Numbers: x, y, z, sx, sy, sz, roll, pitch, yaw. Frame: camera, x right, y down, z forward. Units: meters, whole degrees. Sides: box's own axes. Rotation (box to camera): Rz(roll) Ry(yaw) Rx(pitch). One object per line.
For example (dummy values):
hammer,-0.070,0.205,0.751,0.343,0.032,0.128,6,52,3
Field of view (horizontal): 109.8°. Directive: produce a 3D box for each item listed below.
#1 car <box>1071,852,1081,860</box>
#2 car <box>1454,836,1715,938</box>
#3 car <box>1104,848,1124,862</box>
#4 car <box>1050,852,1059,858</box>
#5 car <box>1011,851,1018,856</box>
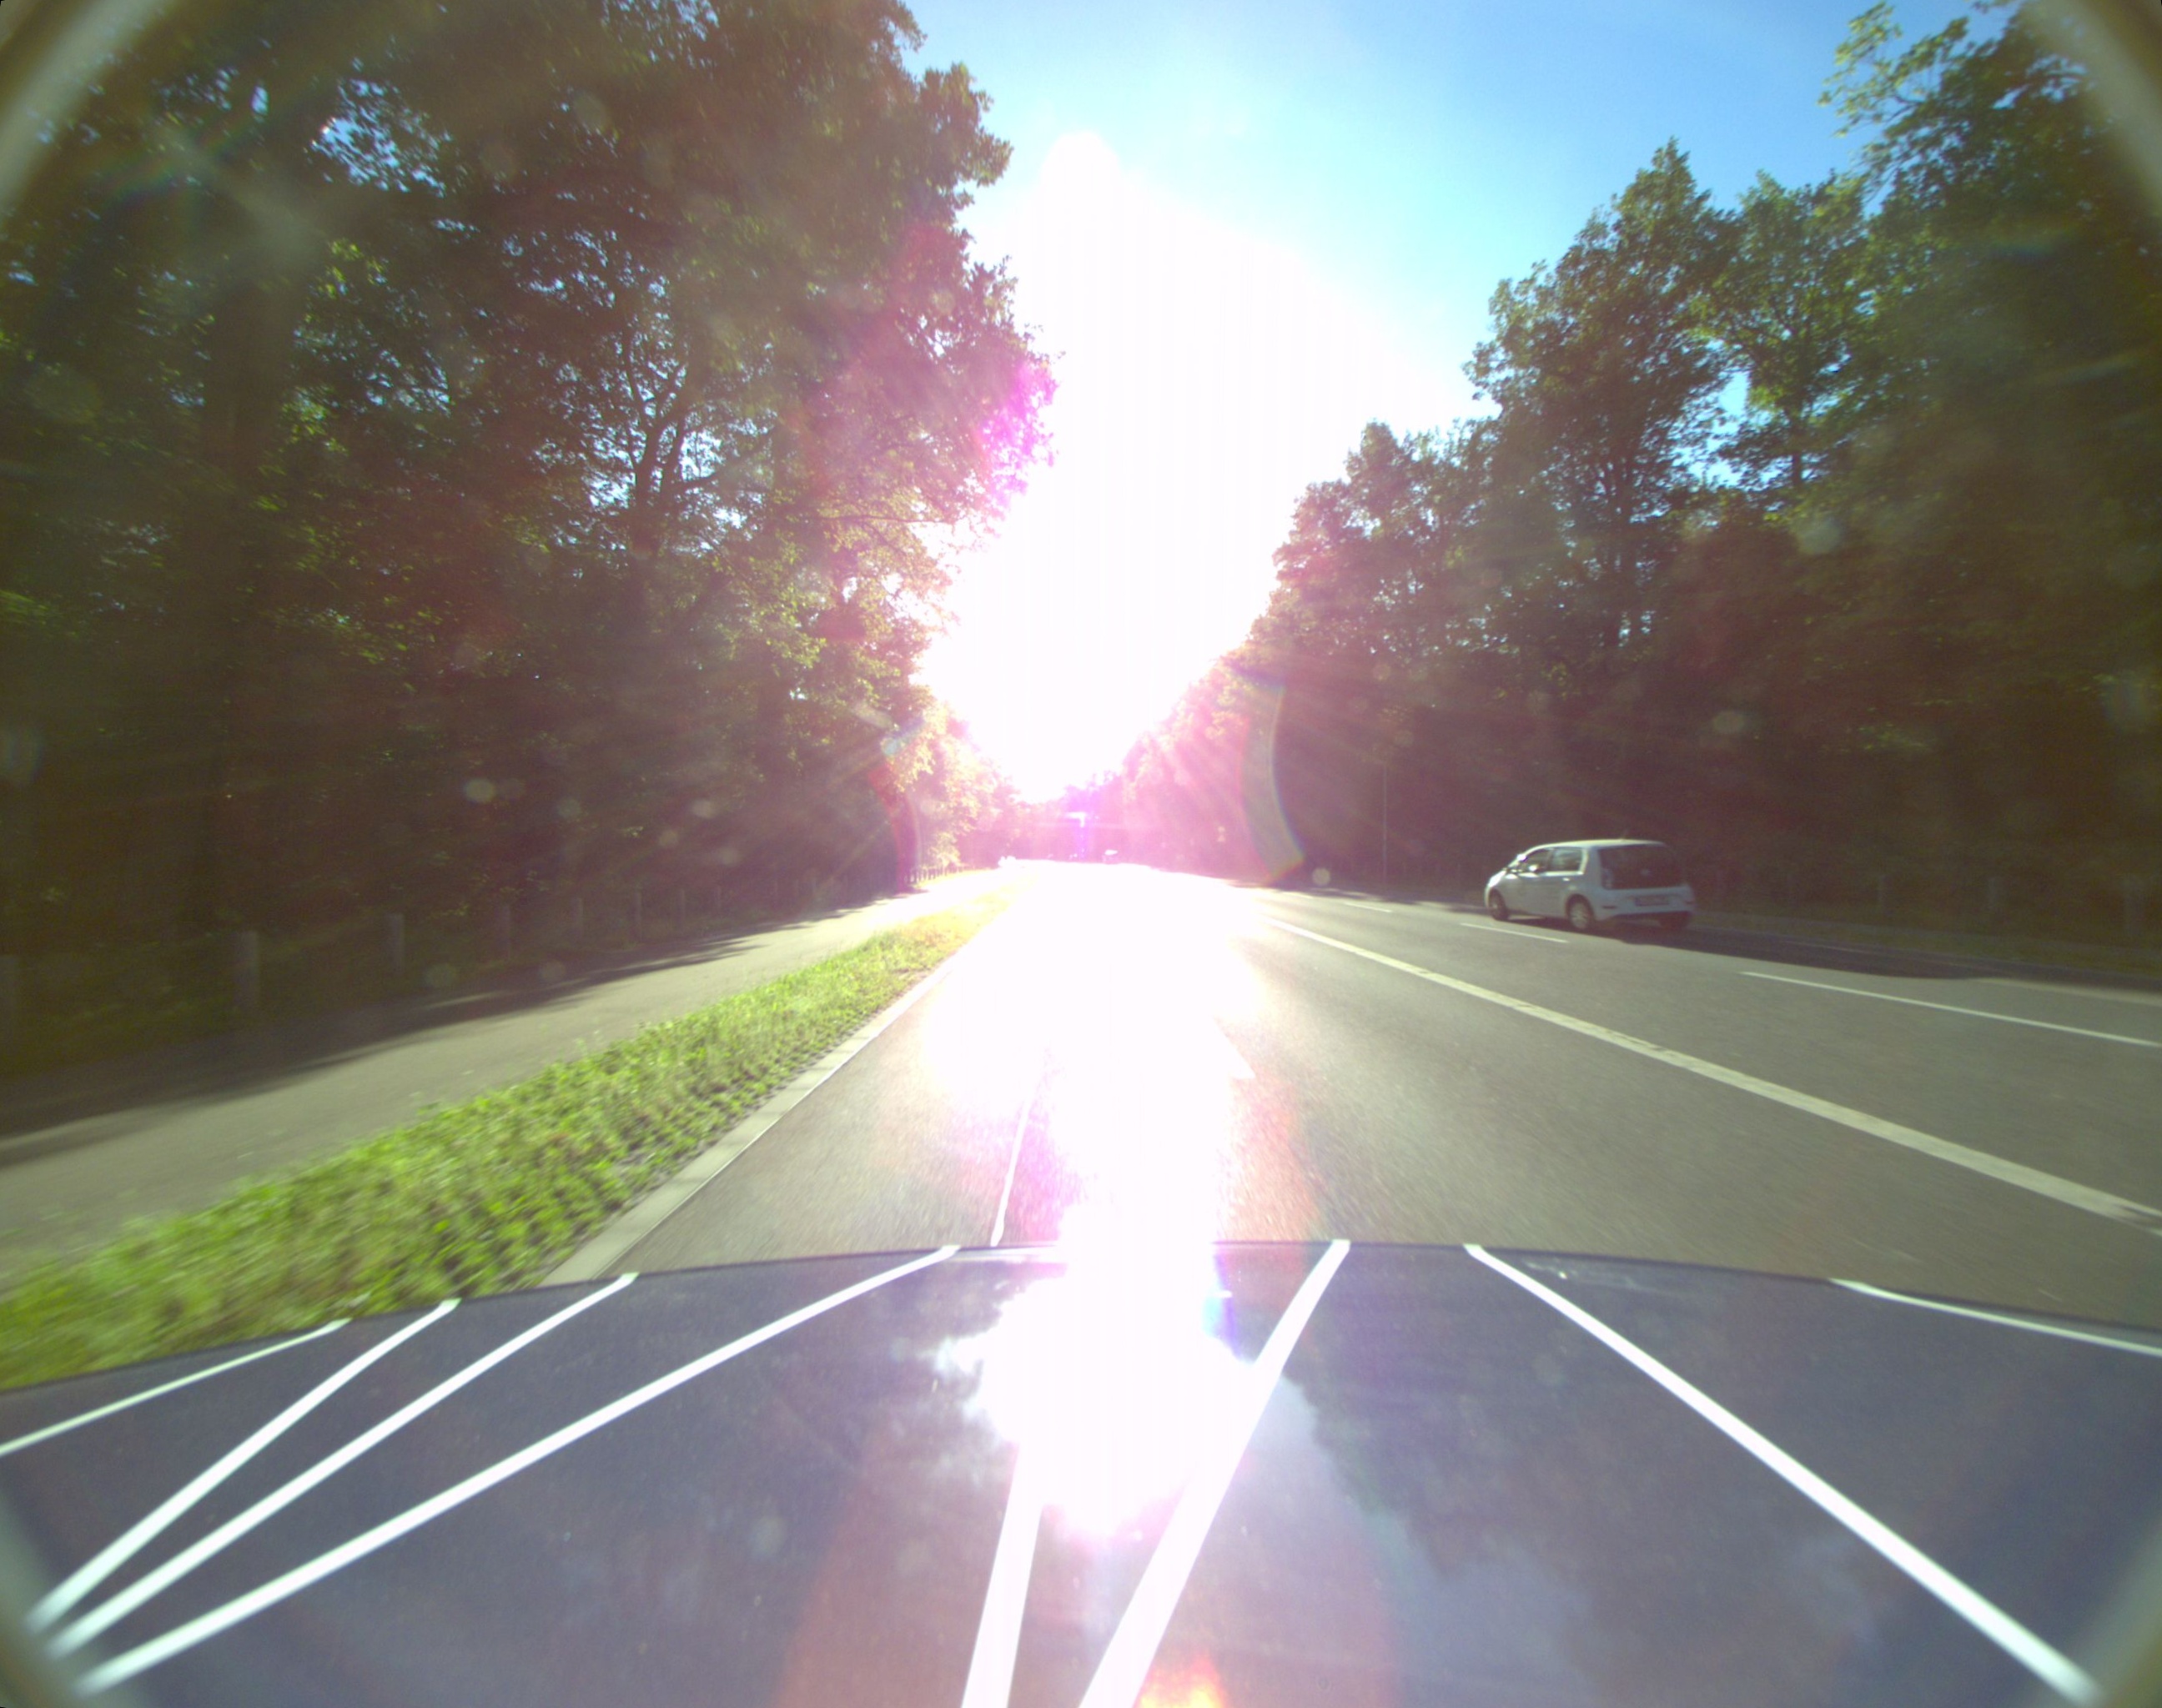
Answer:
car,-1.062,0.422,155.889,1.517,1.457,4.311,-2,0,-6
car,8.597,0.496,13.518,1.592,1.429,4.308,-3,0,-2
car,4.449,0.179,104.265,2.007,1.815,4.997,-3,0,-5
car,-6.947,0.376,200.712,1.848,1.539,3.997,1,0,-10
car,-21.206,-0.064,241.685,1.828,1.674,3.995,-1,0,-13
